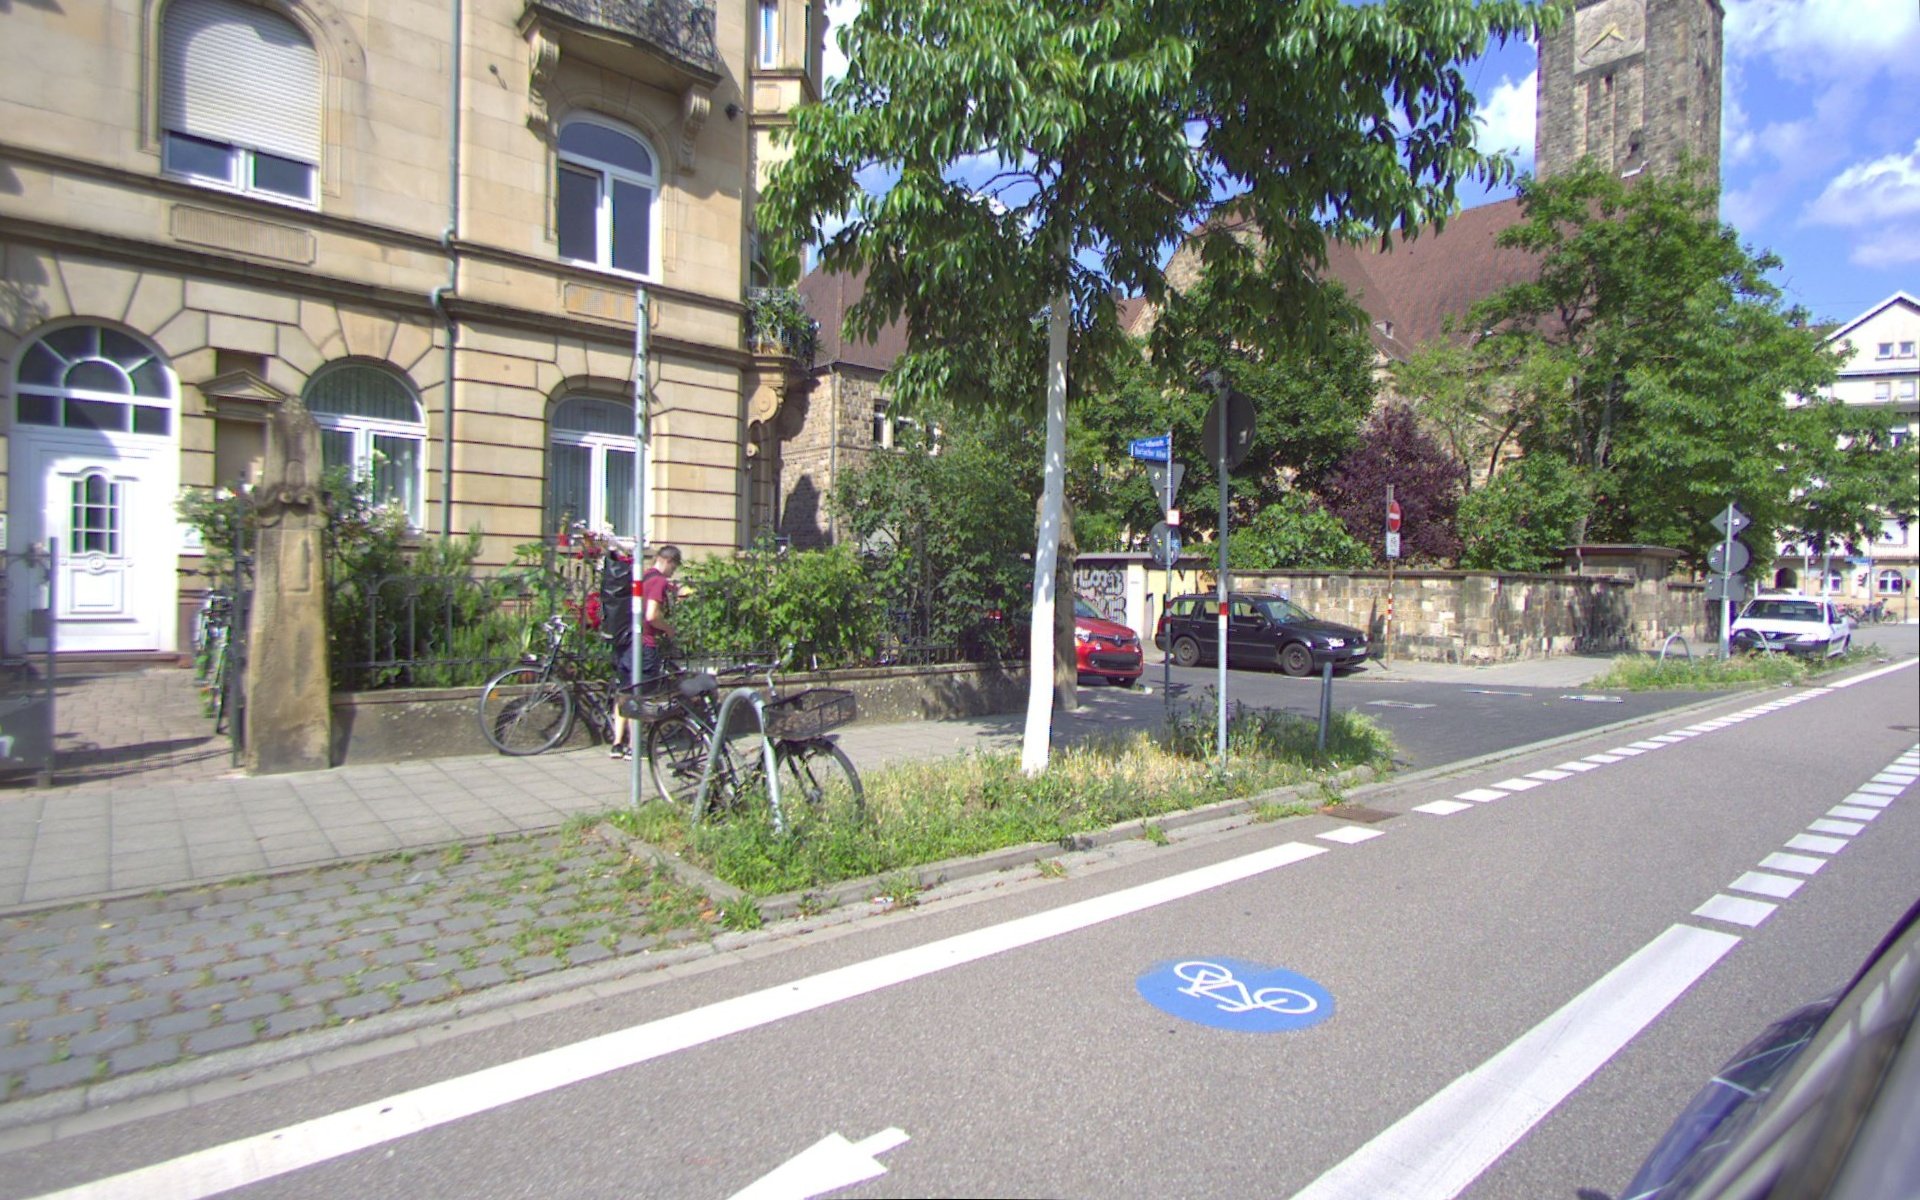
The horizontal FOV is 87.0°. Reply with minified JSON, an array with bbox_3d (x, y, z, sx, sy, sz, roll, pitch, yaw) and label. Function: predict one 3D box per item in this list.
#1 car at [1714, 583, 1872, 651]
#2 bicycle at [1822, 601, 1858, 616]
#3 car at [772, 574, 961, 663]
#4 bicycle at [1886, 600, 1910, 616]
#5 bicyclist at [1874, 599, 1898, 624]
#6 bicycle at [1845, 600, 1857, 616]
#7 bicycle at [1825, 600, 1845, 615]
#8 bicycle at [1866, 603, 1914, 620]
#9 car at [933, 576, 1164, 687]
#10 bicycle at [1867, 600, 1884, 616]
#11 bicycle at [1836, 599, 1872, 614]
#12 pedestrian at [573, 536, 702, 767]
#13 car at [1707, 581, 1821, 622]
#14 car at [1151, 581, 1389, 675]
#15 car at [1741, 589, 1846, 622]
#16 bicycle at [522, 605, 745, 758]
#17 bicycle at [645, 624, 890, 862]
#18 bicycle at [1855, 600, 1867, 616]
[{"bbox_3d":[19.067,0.384,23.130,3.768,1.434,1.675,1,-1,-32],"label":"car"},{"bbox_3d":[63.048,0.608,72.538,1.896,1.031,0.539,0,3,9],"label":"bicycle"},{"bbox_3d":[-2.035,0.291,20.897,1.799,1.637,4.264,0,1,-39],"label":"car"},{"bbox_3d":[67.749,0.579,73.111,0.602,1.031,1.865,1,3,21],"label":"bicycle"},{"bbox_3d":[57.799,0.721,63.183,0.911,1.523,0.647,1,-2,21],"label":"bicyclist"},{"bbox_3d":[64.632,0.563,73.410,0.537,1.031,1.903,2,4,38],"label":"bicycle"},{"bbox_3d":[64.639,0.533,74.771,0.534,1.031,1.914,1,3,23],"label":"bicycle"},{"bbox_3d":[57.992,0.722,63.142,2.104,1.001,0.649,1,0,15],"label":"bicycle"},{"bbox_3d":[1.338,0.429,16.599,1.724,1.575,3.753,1,1,-37],"label":"car"},{"bbox_3d":[65.716,0.582,72.648,1.844,1.031,0.602,-2,3,-40],"label":"bicycle"},{"bbox_3d":[65.993,0.496,74.706,1.911,1.031,0.535,2,3,29],"label":"bicycle"},{"bbox_3d":[-2.465,0.357,7.730,0.712,1.649,0.724,0,1,-40],"label":"pedestrian"},{"bbox_3d":[38.407,0.036,48.407,1.832,1.847,4.007,1,1,-42],"label":"car"},{"bbox_3d":[6.029,0.451,20.077,1.727,1.574,4.259,-3,3,-41],"label":"car"},{"bbox_3d":[41.242,0.254,50.115,1.767,1.566,3.773,1,1,-41],"label":"car"},{"bbox_3d":[-2.628,0.610,8.268,1.681,1.122,0.470,0,1,-41],"label":"bicycle"},{"bbox_3d":[-1.135,0.717,5.693,1.706,1.083,0.464,2,1,45],"label":"bicycle"},{"bbox_3d":[65.205,0.553,73.243,0.537,1.031,1.903,2,3,38],"label":"bicycle"}]
